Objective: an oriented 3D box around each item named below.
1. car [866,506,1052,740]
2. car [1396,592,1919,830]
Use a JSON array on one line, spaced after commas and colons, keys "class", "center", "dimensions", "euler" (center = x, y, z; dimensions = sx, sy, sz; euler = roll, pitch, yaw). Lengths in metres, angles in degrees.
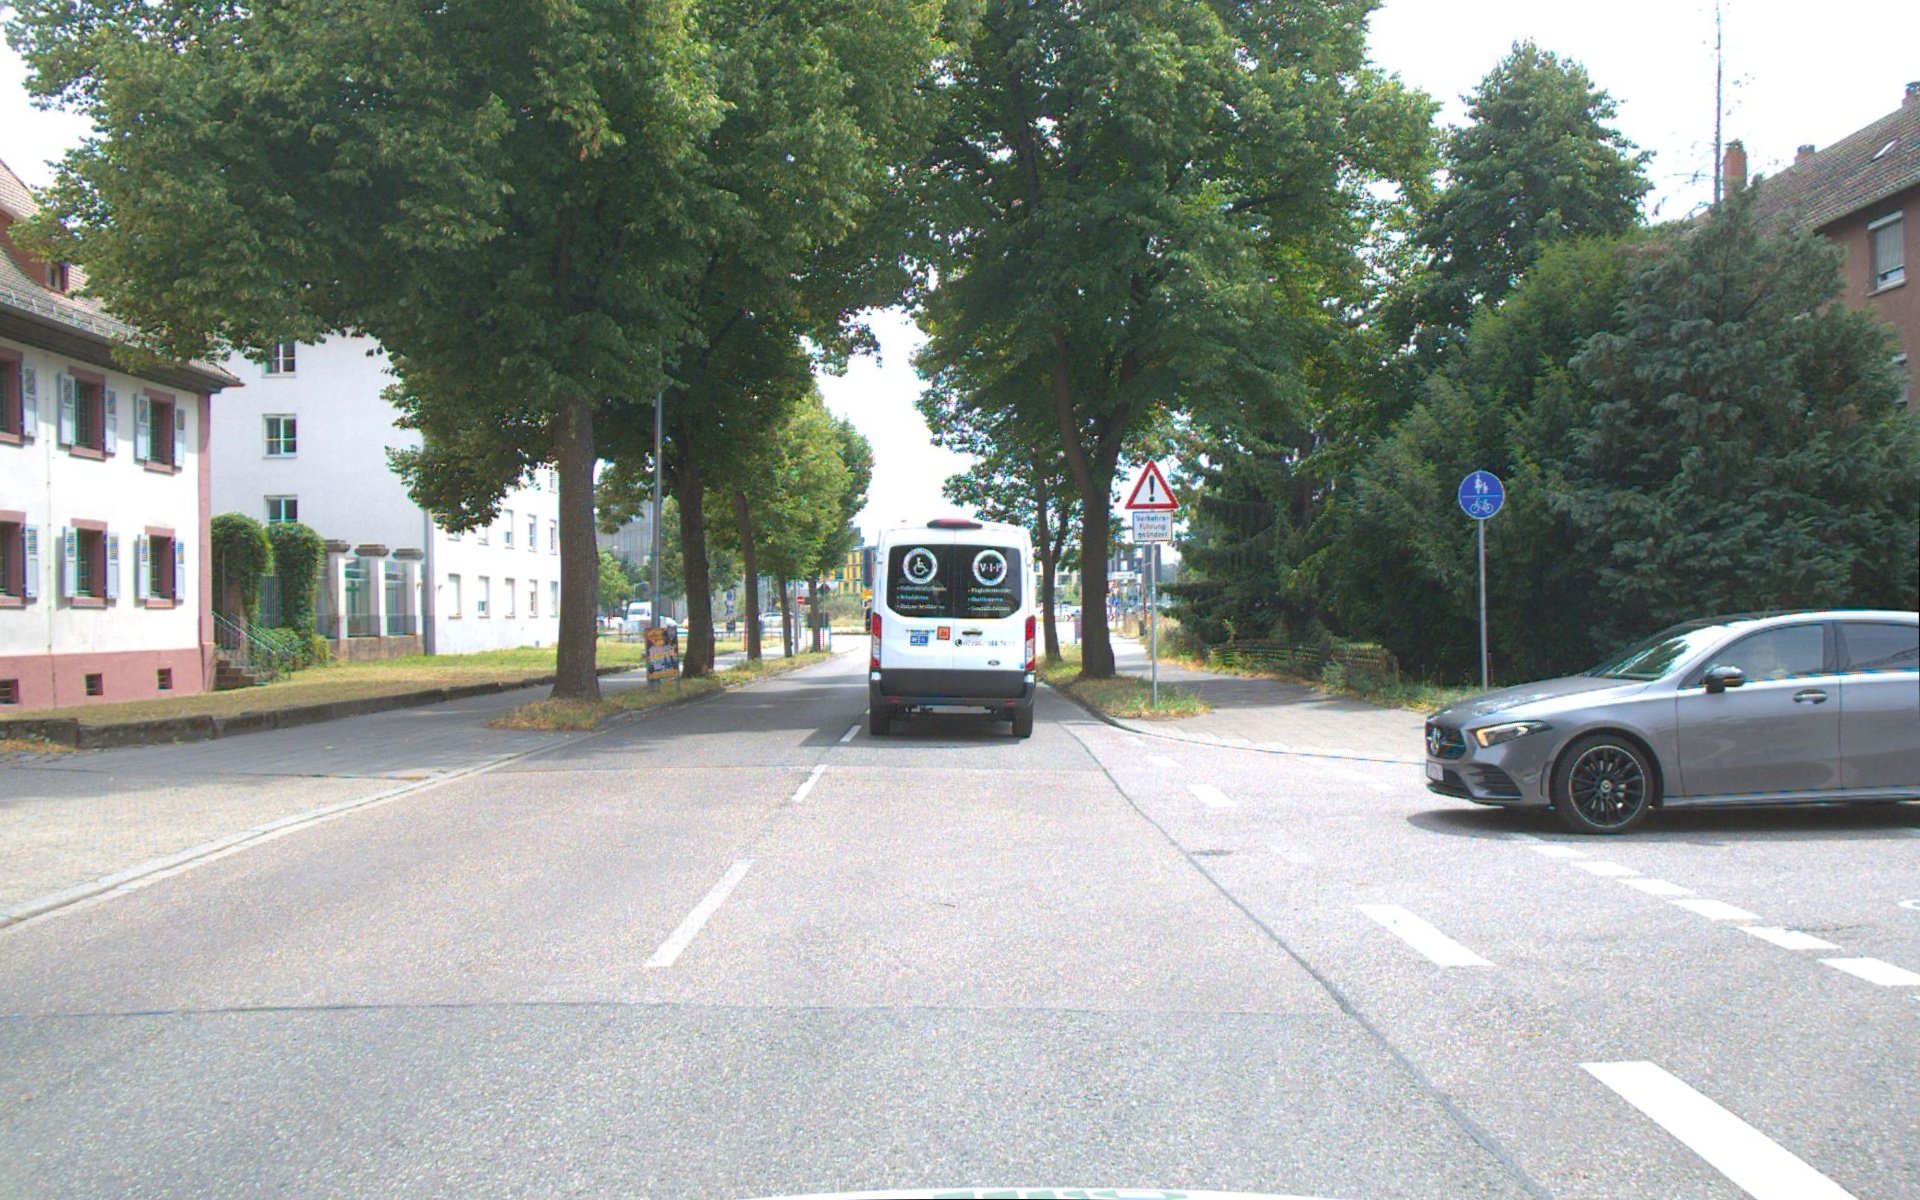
[{"class": "car", "center": [-0.068, 0.323, 20.768], "dimensions": [2.021, 2.584, 3.998], "euler": [2, -2, -2]}, {"class": "car", "center": [5.528, 0.740, 11.801], "dimensions": [4.281, 1.468, 2.011], "euler": [-2, -2, 1]}]
